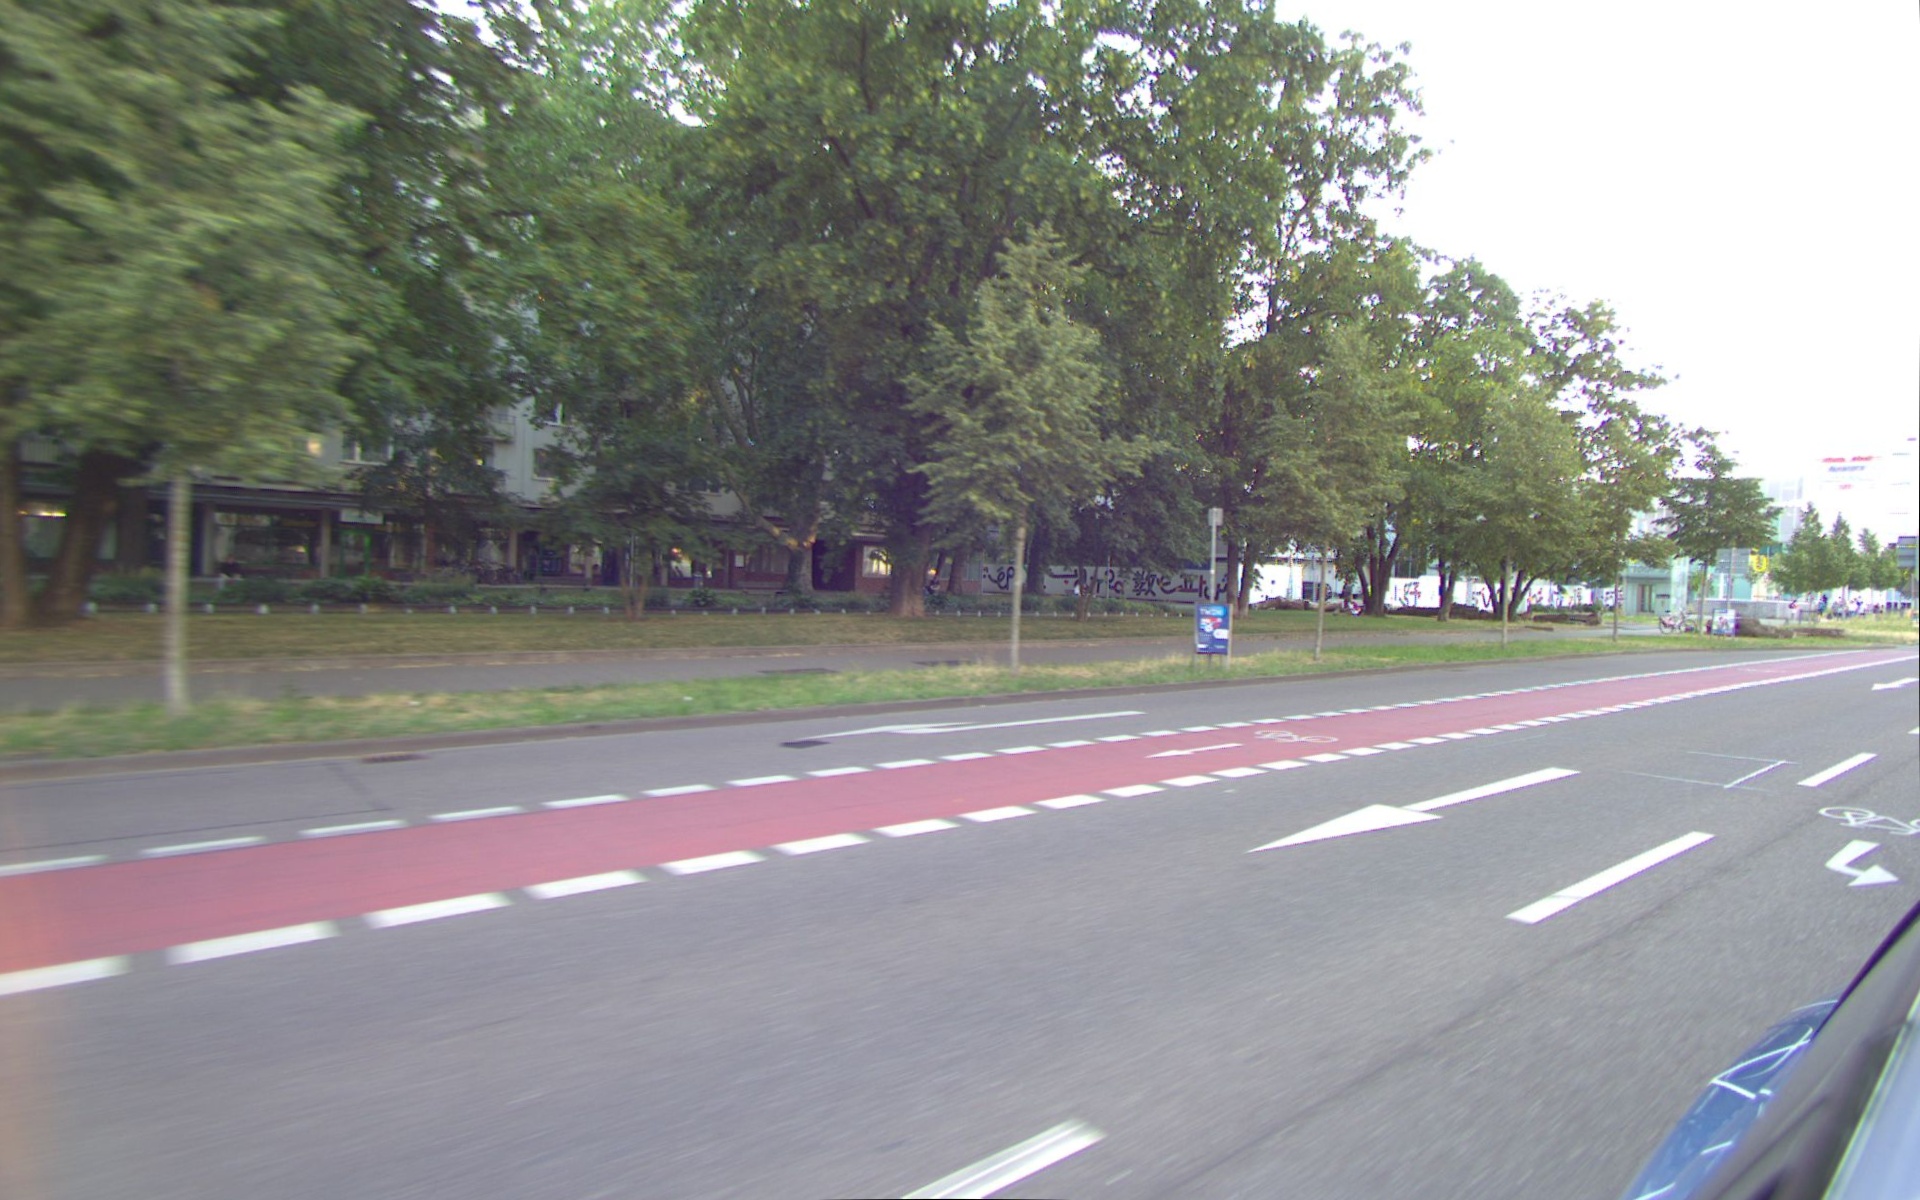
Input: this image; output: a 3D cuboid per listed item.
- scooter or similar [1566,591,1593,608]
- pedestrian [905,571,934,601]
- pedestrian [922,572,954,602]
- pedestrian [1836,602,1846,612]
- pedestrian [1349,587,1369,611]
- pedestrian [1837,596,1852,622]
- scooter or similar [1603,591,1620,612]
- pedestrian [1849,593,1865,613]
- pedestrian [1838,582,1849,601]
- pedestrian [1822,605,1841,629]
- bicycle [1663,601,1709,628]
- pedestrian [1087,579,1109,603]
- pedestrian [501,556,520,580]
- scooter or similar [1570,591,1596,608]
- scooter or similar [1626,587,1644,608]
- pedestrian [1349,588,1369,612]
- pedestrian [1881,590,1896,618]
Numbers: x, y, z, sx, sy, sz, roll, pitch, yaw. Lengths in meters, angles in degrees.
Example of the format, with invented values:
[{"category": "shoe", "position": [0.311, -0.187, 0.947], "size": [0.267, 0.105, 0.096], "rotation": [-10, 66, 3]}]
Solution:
[{"category": "scooter or similar", "position": [44.829, -0.050, 73.210], "size": [0.466, 1.236, 1.572], "rotation": [0, 0, -41]}, {"category": "pedestrian", "position": [-1.752, -0.600, 43.982], "size": [0.712, 1.276, 1.135], "rotation": [1, 2, -37]}, {"category": "pedestrian", "position": [-0.973, -0.581, 44.502], "size": [0.888, 1.276, 1.135], "rotation": [1, 2, -37]}, {"category": "pedestrian", "position": [84.552, 0.671, 97.120], "size": [0.643, 0.975, 0.648], "rotation": [0, 2, -45]}, {"category": "pedestrian", "position": [16.045, -0.042, 40.712], "size": [0.675, 0.895, 0.618], "rotation": [3, 2, 27]}, {"category": "pedestrian", "position": [66.094, 0.661, 75.633], "size": [0.608, 1.957, 0.644], "rotation": [1, 1, -37]}, {"category": "scooter or similar", "position": [39.364, 0.080, 61.109], "size": [0.473, 1.235, 1.549], "rotation": [6, 4, 44]}, {"category": "pedestrian", "position": [87.450, 0.266, 98.683], "size": [0.882, 1.877, 0.722], "rotation": [2, 1, 17]}, {"category": "pedestrian", "position": [85.983, -0.814, 98.491], "size": [0.575, 1.877, 0.605], "rotation": [1, 1, -34]}, {"category": "pedestrian", "position": [67.922, 1.312, 78.898], "size": [1.026, 1.838, 0.817], "rotation": [2, 1, -34]}, {"category": "bicycle", "position": [30.137, 0.610, 42.006], "size": [1.858, 1.017, 0.497], "rotation": [2, 3, -19]}, {"category": "pedestrian", "position": [7.018, -0.477, 51.543], "size": [0.754, 1.178, 0.787], "rotation": [0, 2, -45]}, {"category": "pedestrian", "position": [-22.059, -1.570, 49.643], "size": [0.687, 1.178, 0.788], "rotation": [1, 2, -37]}, {"category": "scooter or similar", "position": [45.401, -0.064, 73.778], "size": [0.466, 1.236, 1.572], "rotation": [0, 0, -41]}, {"category": "scooter or similar", "position": [40.170, -0.134, 60.233], "size": [1.373, 1.235, 0.425], "rotation": [1, 4, -39]}, {"category": "pedestrian", "position": [15.823, -0.004, 40.147], "size": [0.674, 0.895, 0.588], "rotation": [3, 1, 26]}, {"category": "pedestrian", "position": [67.808, 0.295, 73.888], "size": [0.608, 1.957, 0.644], "rotation": [1, 1, -39]}]
